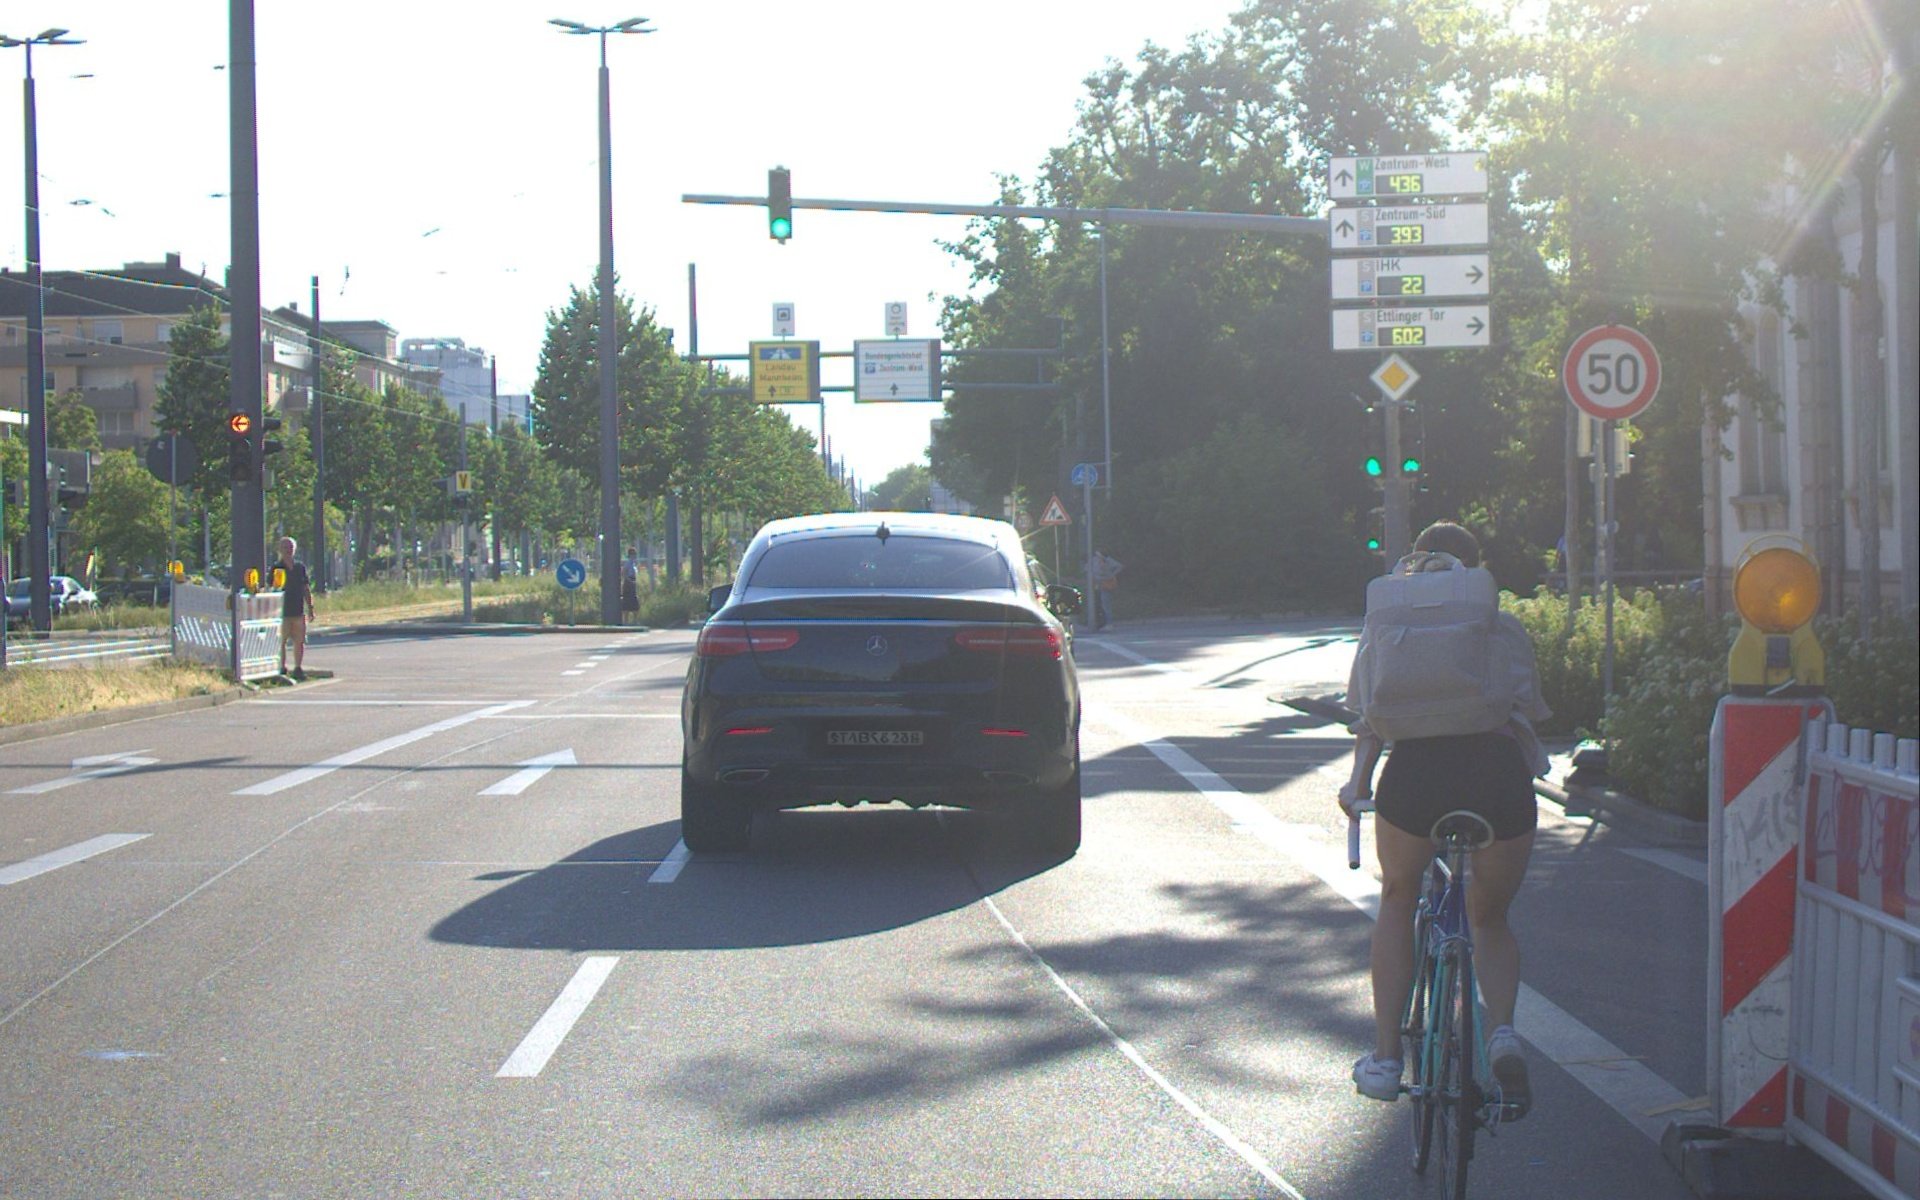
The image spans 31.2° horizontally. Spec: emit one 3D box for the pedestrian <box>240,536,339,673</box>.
[{"bbox_3d":[-8.138,0.050,41.754,0.924,1.643,0.765,-1,1,12],"label":"pedestrian"}]

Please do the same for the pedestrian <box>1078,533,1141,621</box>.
[{"bbox_3d":[3.122,-0.483,71.990,0.857,1.796,0.907,-4,1,-35],"label":"pedestrian"}]

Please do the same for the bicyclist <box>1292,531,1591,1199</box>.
[{"bbox_3d":[1.085,0.592,7.905,0.552,1.486,1.081,-1,1,2],"label":"bicyclist"}]

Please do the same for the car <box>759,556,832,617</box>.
[{"bbox_3d":[-4.488,-0.394,94.390,1.885,1.575,4.001,0,1,-1],"label":"car"}]

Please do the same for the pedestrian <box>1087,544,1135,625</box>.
[{"bbox_3d":[3.112,-0.321,71.080,0.766,1.631,0.770,-3,1,-10],"label":"pedestrian"}]

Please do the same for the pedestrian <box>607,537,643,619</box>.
[{"bbox_3d":[-7.065,-0.468,72.457,0.598,1.693,0.714,-1,1,5],"label":"pedestrian"}]

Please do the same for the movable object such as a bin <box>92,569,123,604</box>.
[{"bbox_3d":[-34.212,-0.544,137.954,0.858,1.353,0.939,-1,1,14],"label":"movable object such as a bin"}]

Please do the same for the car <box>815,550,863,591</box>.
[{"bbox_3d":[-4.906,-1.208,139.396,1.885,1.575,4.001,0,1,-1],"label":"car"}]

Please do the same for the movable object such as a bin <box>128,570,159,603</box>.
[{"bbox_3d":[-32.827,-0.541,138.276,0.858,1.276,0.939,-1,1,14],"label":"movable object such as a bin"}]

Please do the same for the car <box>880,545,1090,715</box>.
[{"bbox_3d":[0.195,0.240,33.208,1.897,1.522,4.059,0,1,-1],"label":"car"}]

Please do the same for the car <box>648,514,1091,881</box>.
[{"bbox_3d":[-0.358,0.412,18.308,1.994,1.728,4.000,0,1,4],"label":"car"}]

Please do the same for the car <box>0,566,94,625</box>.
[{"bbox_3d":[-22.446,-0.134,83.046,1.891,1.339,4.851,-1,1,-1],"label":"car"}]

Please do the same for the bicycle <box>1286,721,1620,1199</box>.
[{"bbox_3d":[1.066,0.878,7.734,0.520,1.093,1.843,-1,1,2],"label":"bicycle"}]

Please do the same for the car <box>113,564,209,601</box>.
[{"bbox_3d":[-34.142,-0.738,146.958,3.615,1.518,1.620,1,0,-41],"label":"car"}]
